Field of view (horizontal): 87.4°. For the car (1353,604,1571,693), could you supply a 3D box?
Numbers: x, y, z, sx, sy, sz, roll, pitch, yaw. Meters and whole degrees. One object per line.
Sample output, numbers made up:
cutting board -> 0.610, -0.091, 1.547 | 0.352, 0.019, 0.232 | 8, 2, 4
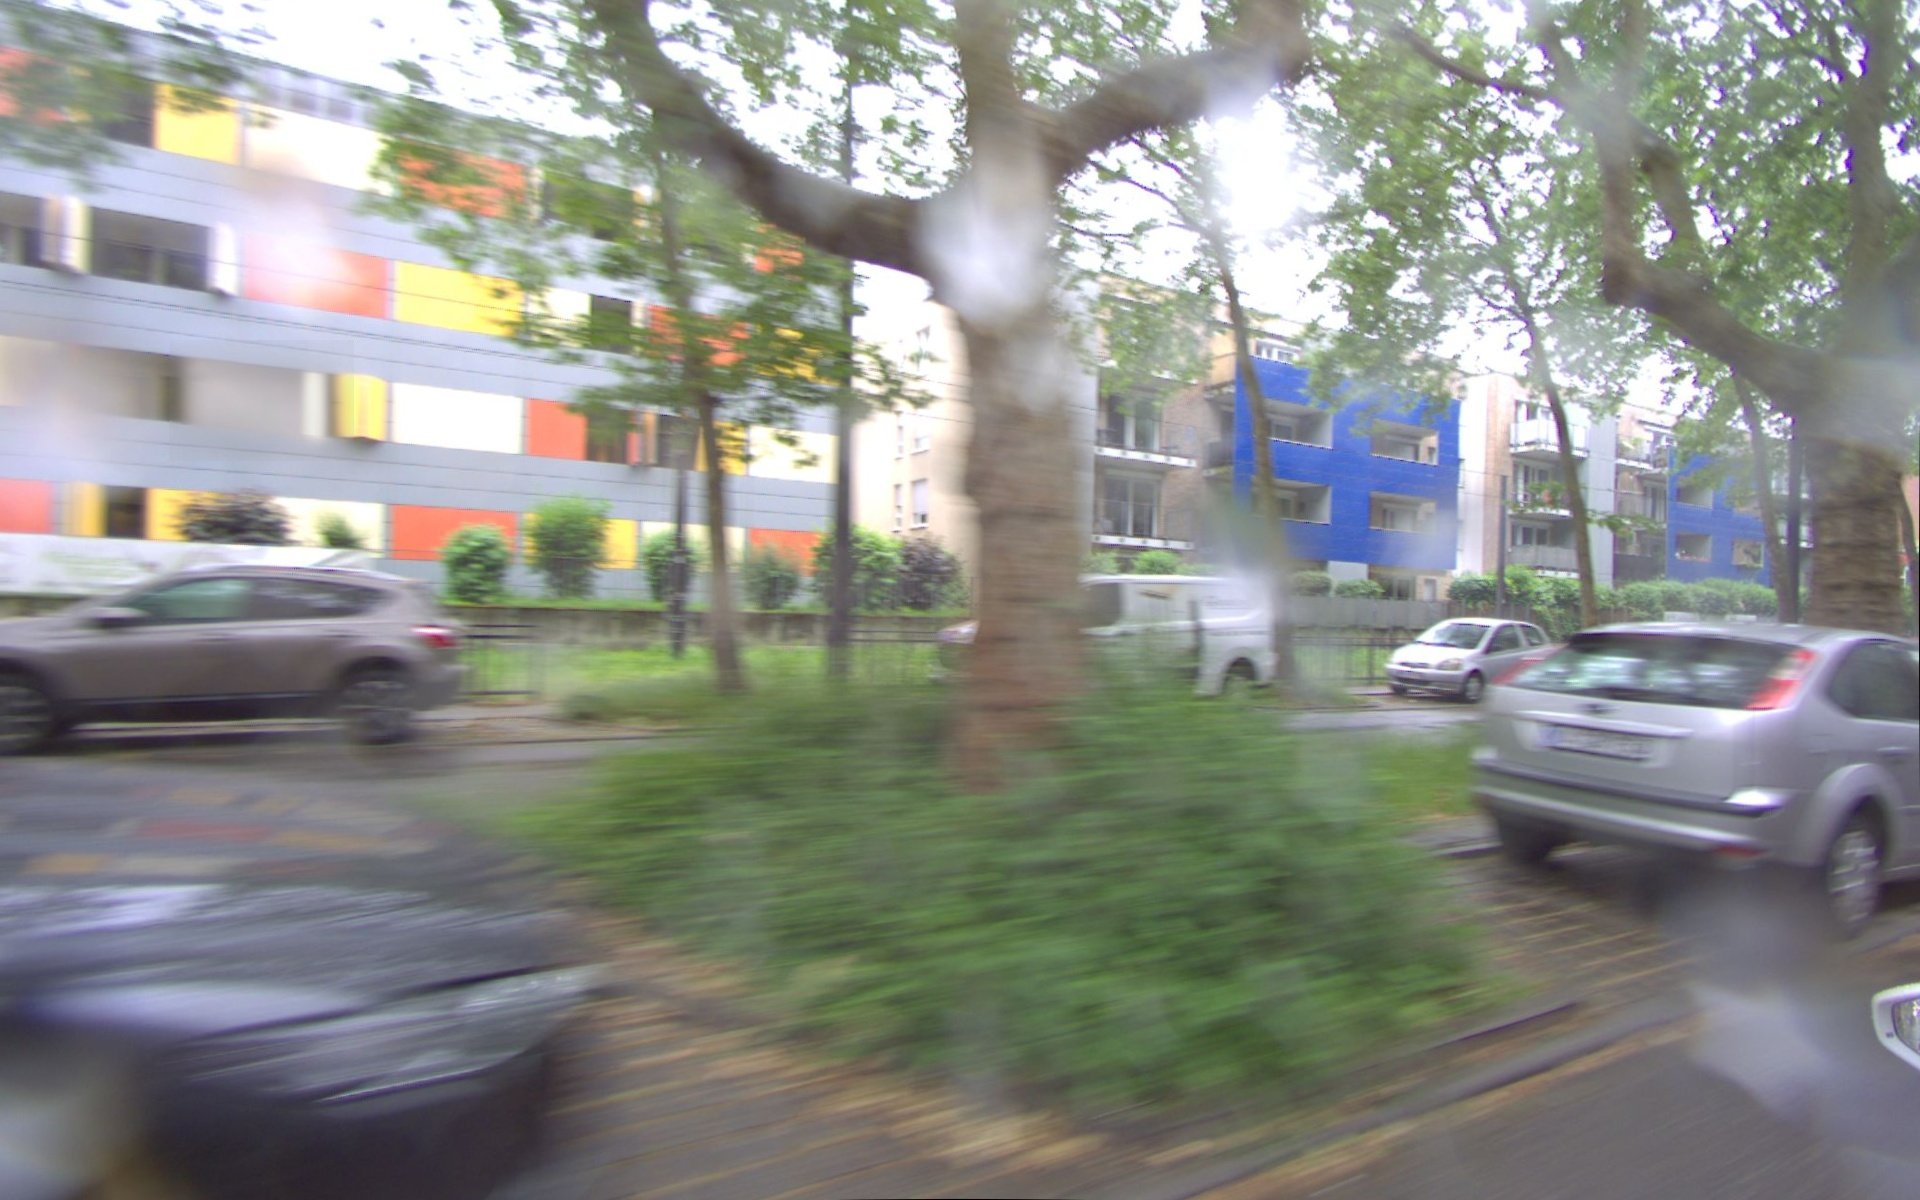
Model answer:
car -> 9.791, 0.909, 19.529 | 4.169, 1.554, 1.894 | 2, -1, -32

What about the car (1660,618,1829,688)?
car -> 19.490, 1.293, 24.917 | 4.372, 1.554, 1.894 | 2, -1, -32

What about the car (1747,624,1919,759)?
car -> 11.202, 1.010, 11.031 | 1.747, 1.453, 4.044 | 1, -2, -5

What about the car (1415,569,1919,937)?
car -> 4.810, 0.681, 5.988 | 4.158, 1.535, 1.721 | 2, 0, -30

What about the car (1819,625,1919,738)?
car -> 13.221, 1.059, 12.639 | 1.747, 1.455, 3.503 | 1, -2, -2

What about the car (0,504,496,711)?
car -> -6.838, 0.093, 9.345 | 4.415, 1.621, 1.895 | 2, -1, -30

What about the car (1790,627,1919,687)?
car -> 25.891, 1.617, 28.880 | 4.169, 1.554, 1.894 | 2, -1, -32

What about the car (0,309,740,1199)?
car -> -2.837, 0.327, 1.420 | 4.567, 1.505, 1.887 | 2, 0, -30

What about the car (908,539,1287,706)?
car -> 2.100, 0.312, 14.485 | 5.378, 2.024, 2.041 | 2, 1, -34

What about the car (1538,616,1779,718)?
car -> 11.555, 1.074, 16.577 | 3.955, 1.439, 1.824 | 3, 0, -32
